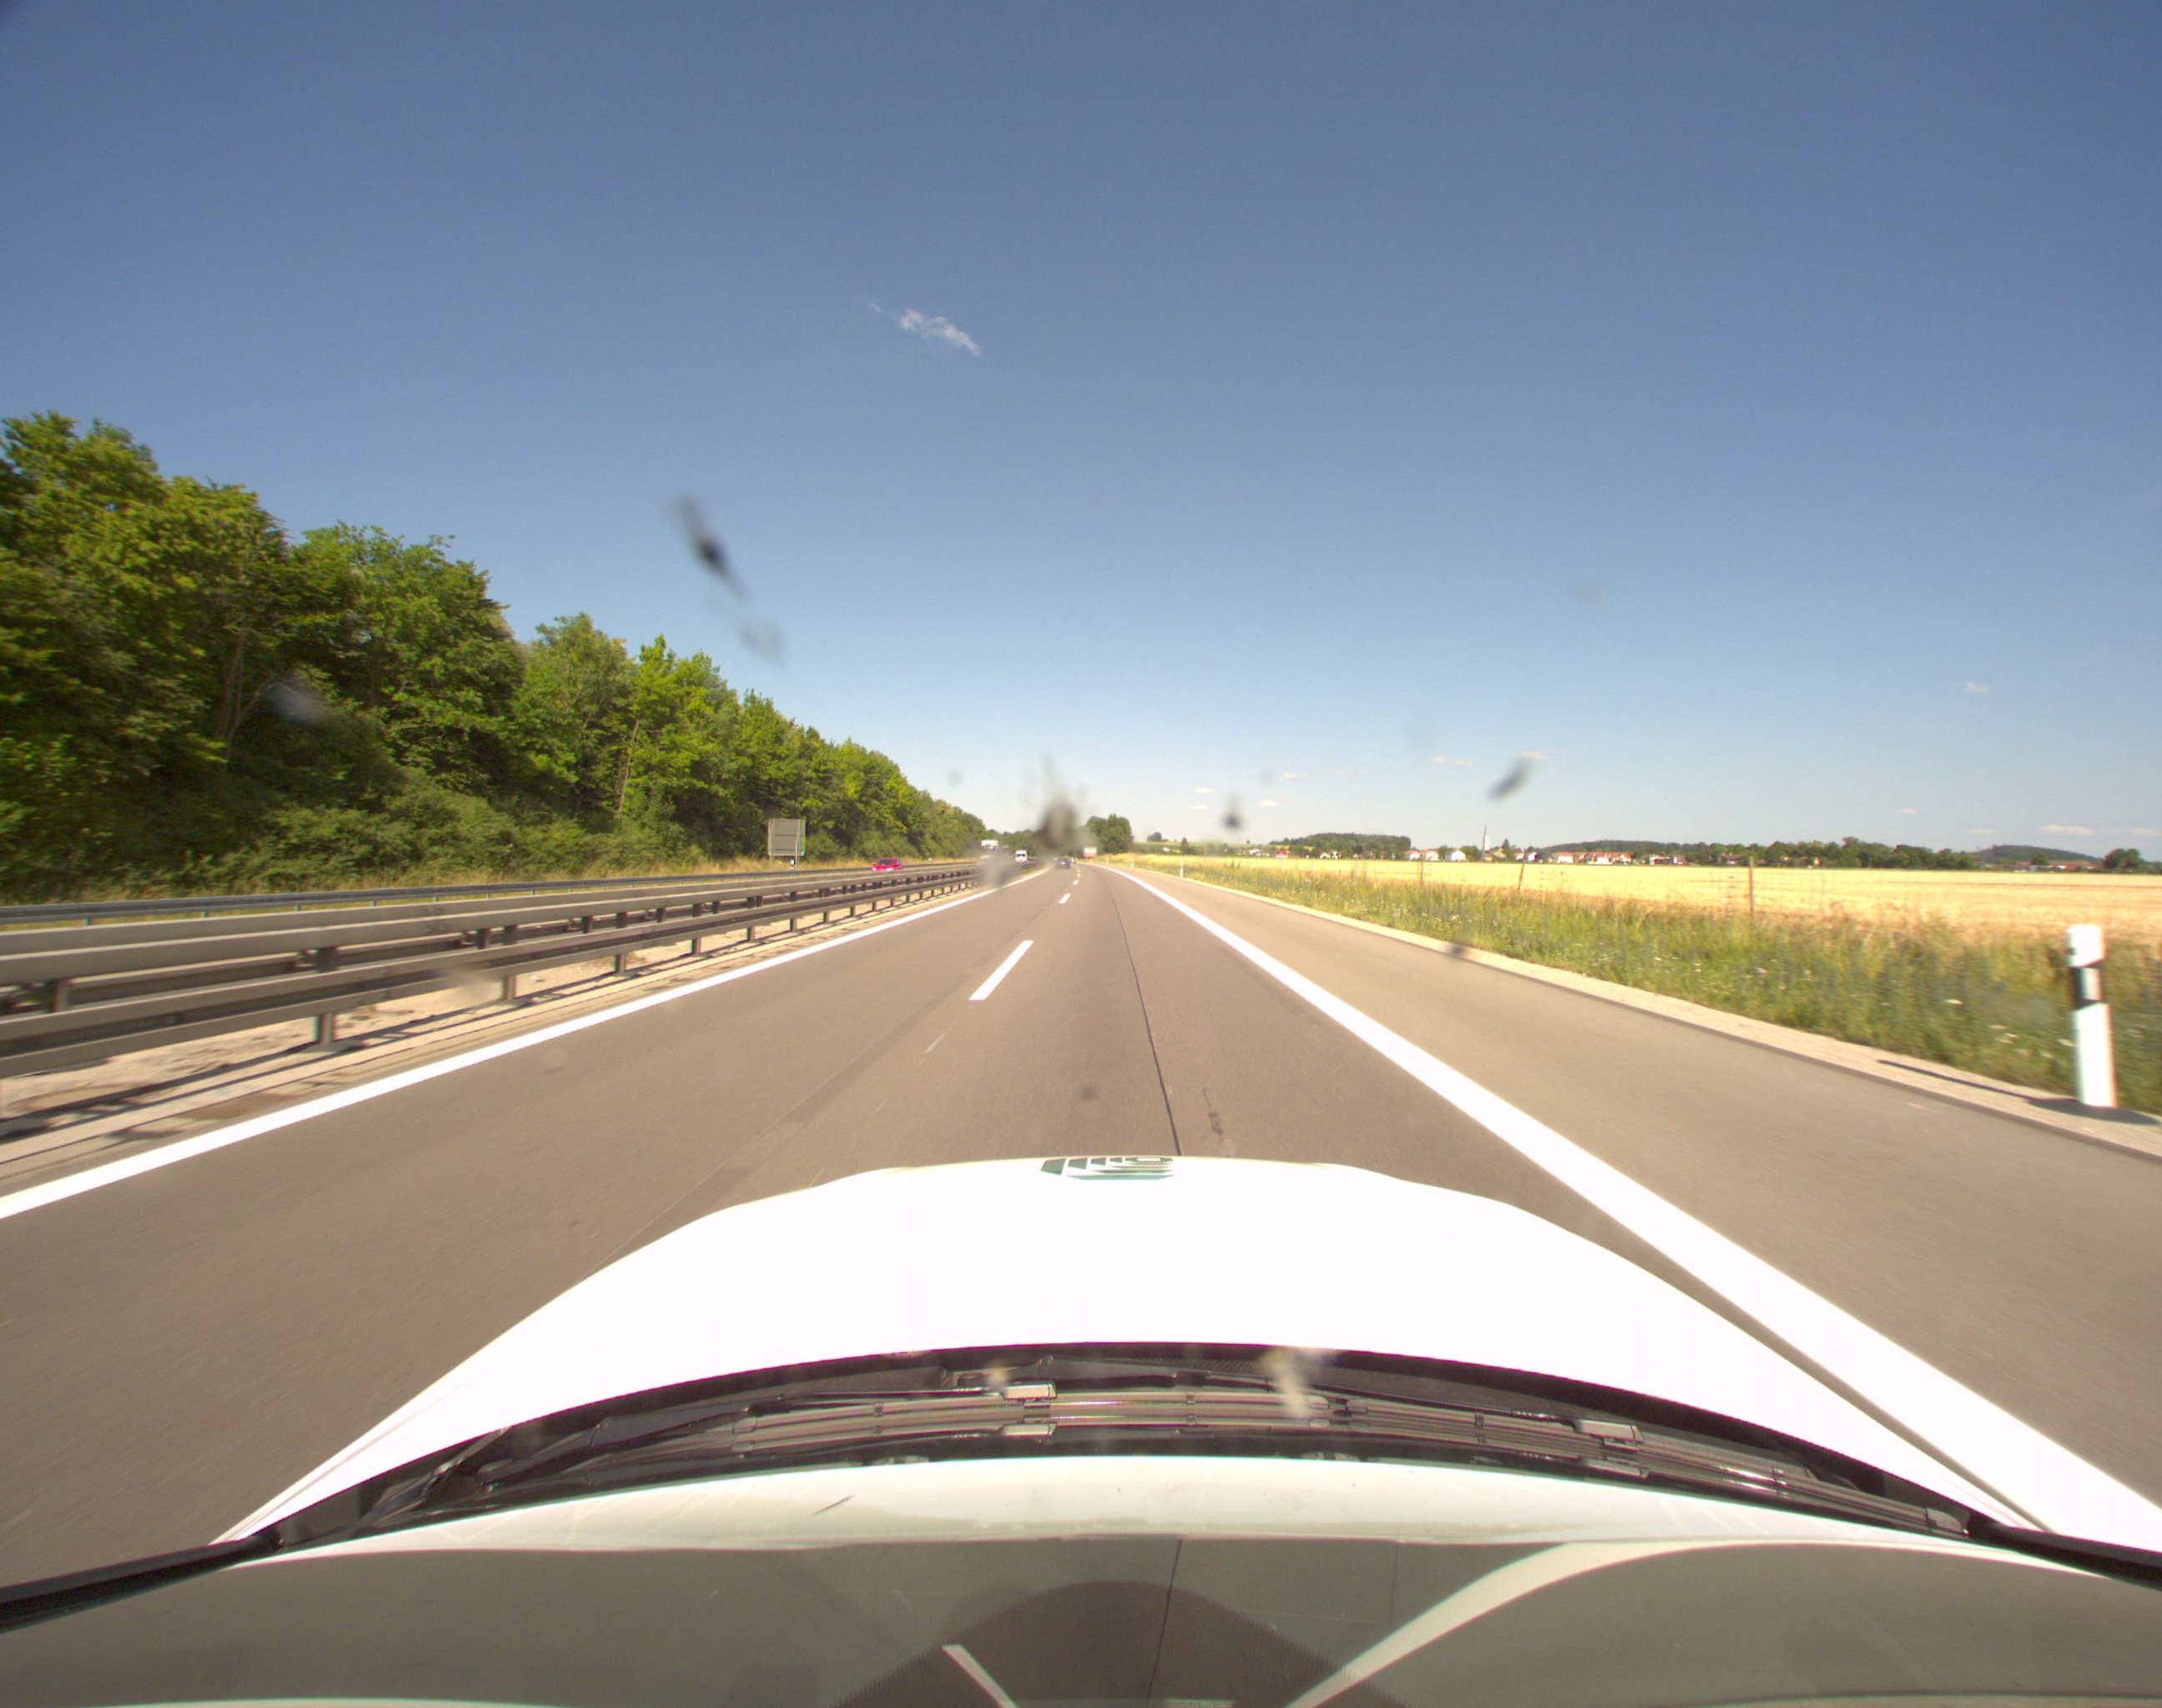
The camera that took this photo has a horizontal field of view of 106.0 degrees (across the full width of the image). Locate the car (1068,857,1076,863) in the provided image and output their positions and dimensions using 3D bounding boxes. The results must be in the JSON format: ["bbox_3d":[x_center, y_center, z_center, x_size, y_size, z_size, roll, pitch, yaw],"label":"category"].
[{"bbox_3d":[-2.159,1.351,196.918,1.672,1.453,3.589,0,0,-2],"label":"car"}]

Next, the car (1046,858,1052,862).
[{"bbox_3d":[-10.097,1.848,257.230,1.670,1.453,3.592,0,0,1],"label":"car"}]

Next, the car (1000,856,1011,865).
[{"bbox_3d":[-14.720,1.291,159.227,1.752,1.626,4.000,0,0,1],"label":"car"}]

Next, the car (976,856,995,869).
[{"bbox_3d":[-11.729,1.043,100.707,1.680,1.483,4.977,0,0,1],"label":"car"}]

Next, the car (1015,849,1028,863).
[{"bbox_3d":[-10.520,0.360,145.348,2.083,2.593,5.809,0,0,-2],"label":"car"}]

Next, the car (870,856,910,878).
[{"bbox_3d":[-13.085,0.867,55.999,1.667,1.437,4.142,0,0,1],"label":"car"}]

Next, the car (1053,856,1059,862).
[{"bbox_3d":[-6.900,1.421,225.937,1.671,1.453,3.589,0,0,-2],"label":"car"}]

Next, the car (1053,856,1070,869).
[{"bbox_3d":[-2.389,1.015,100.885,1.841,1.432,5.865,0,0,0],"label":"car"}]

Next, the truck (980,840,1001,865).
[{"bbox_3d":[-14.286,-0.230,128.879,2.738,3.829,5.909,0,0,-1],"label":"truck"}]
